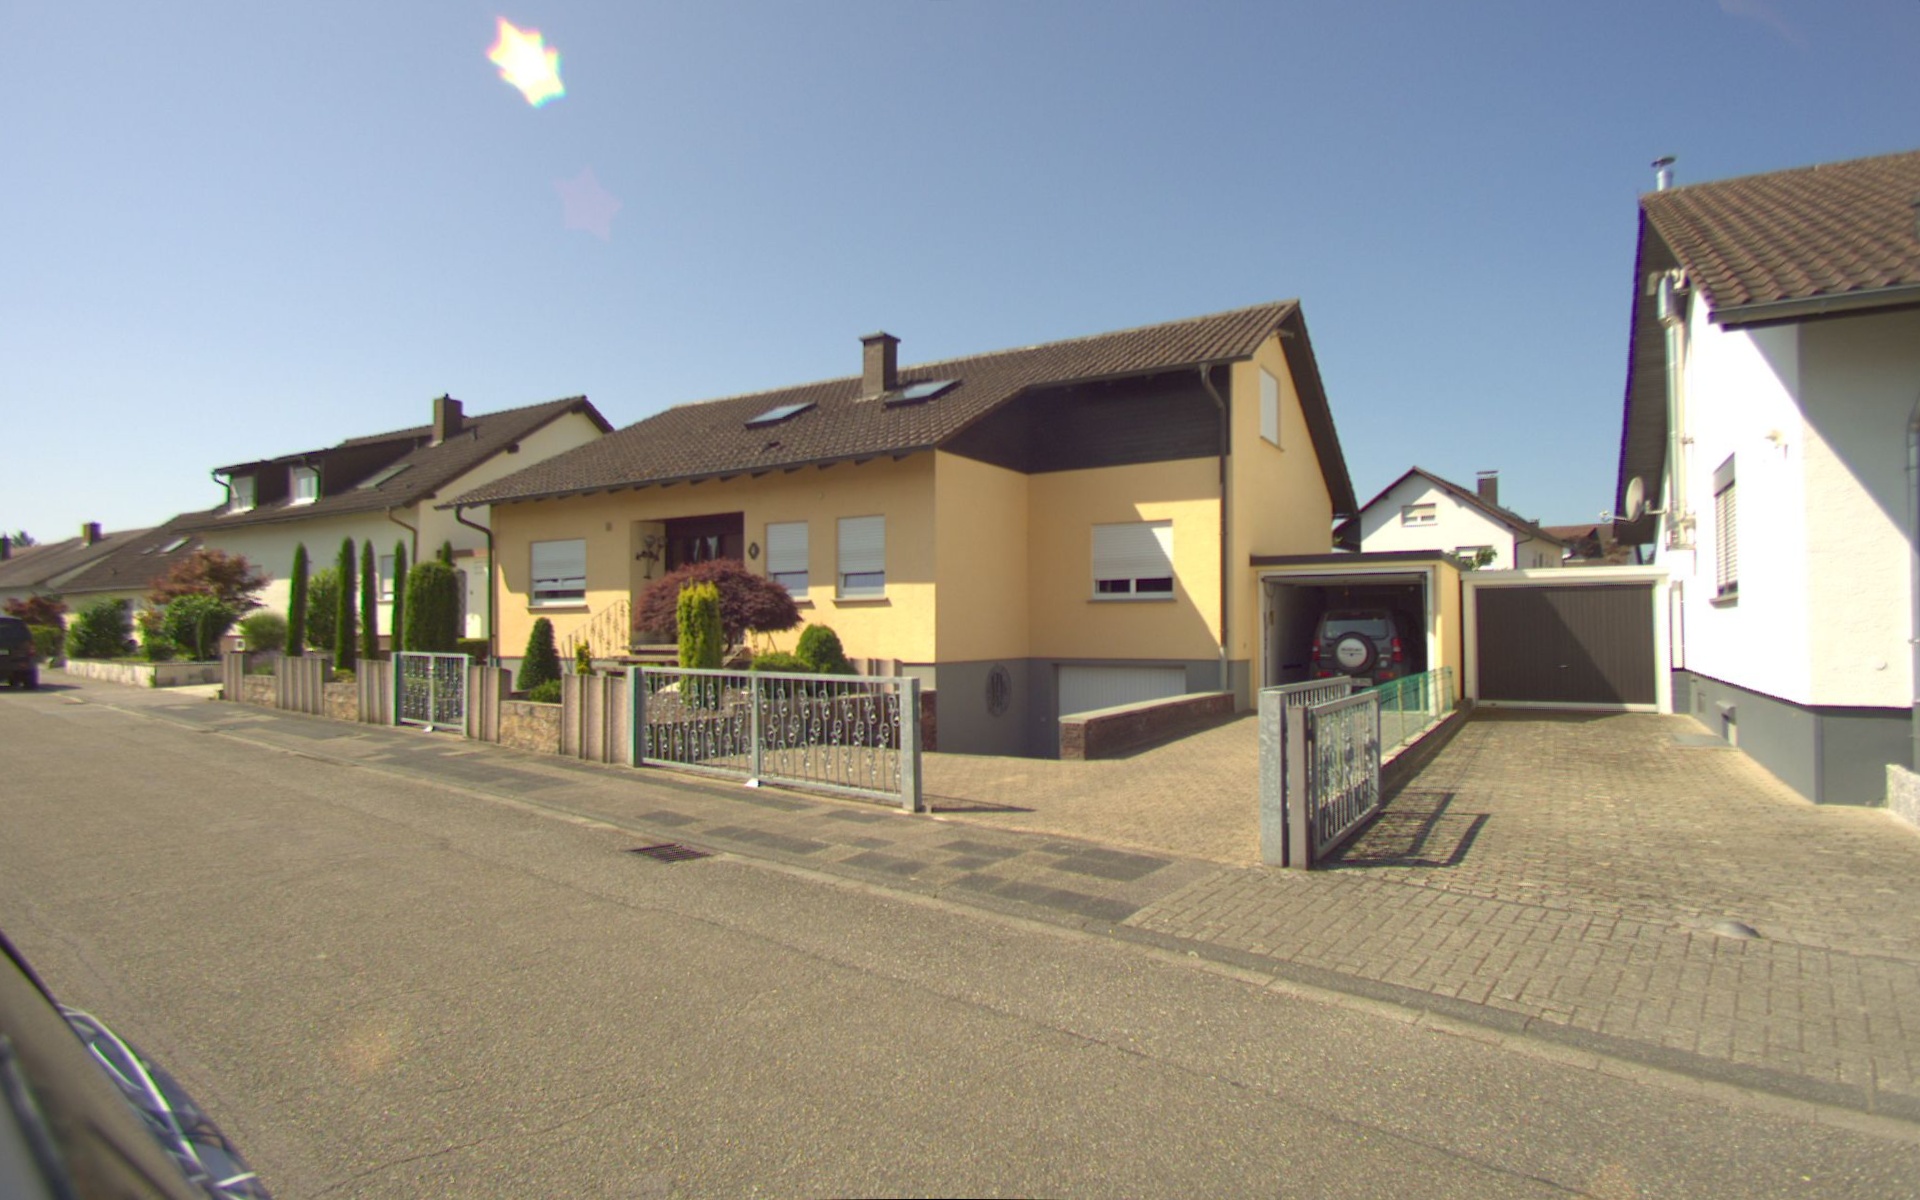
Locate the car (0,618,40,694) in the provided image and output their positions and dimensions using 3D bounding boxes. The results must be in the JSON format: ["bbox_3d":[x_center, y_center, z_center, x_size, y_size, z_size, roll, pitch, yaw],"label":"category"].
[{"bbox_3d":[-24.129,1.368,24.919,3.650,1.791,1.746,-2,-2,41],"label":"car"}]

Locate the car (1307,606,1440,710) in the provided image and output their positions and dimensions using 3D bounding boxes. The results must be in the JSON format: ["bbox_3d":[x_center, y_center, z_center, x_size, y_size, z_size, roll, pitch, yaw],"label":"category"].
[{"bbox_3d":[7.321,0.984,17.730,1.543,1.623,3.661,-1,-3,32],"label":"car"}]
